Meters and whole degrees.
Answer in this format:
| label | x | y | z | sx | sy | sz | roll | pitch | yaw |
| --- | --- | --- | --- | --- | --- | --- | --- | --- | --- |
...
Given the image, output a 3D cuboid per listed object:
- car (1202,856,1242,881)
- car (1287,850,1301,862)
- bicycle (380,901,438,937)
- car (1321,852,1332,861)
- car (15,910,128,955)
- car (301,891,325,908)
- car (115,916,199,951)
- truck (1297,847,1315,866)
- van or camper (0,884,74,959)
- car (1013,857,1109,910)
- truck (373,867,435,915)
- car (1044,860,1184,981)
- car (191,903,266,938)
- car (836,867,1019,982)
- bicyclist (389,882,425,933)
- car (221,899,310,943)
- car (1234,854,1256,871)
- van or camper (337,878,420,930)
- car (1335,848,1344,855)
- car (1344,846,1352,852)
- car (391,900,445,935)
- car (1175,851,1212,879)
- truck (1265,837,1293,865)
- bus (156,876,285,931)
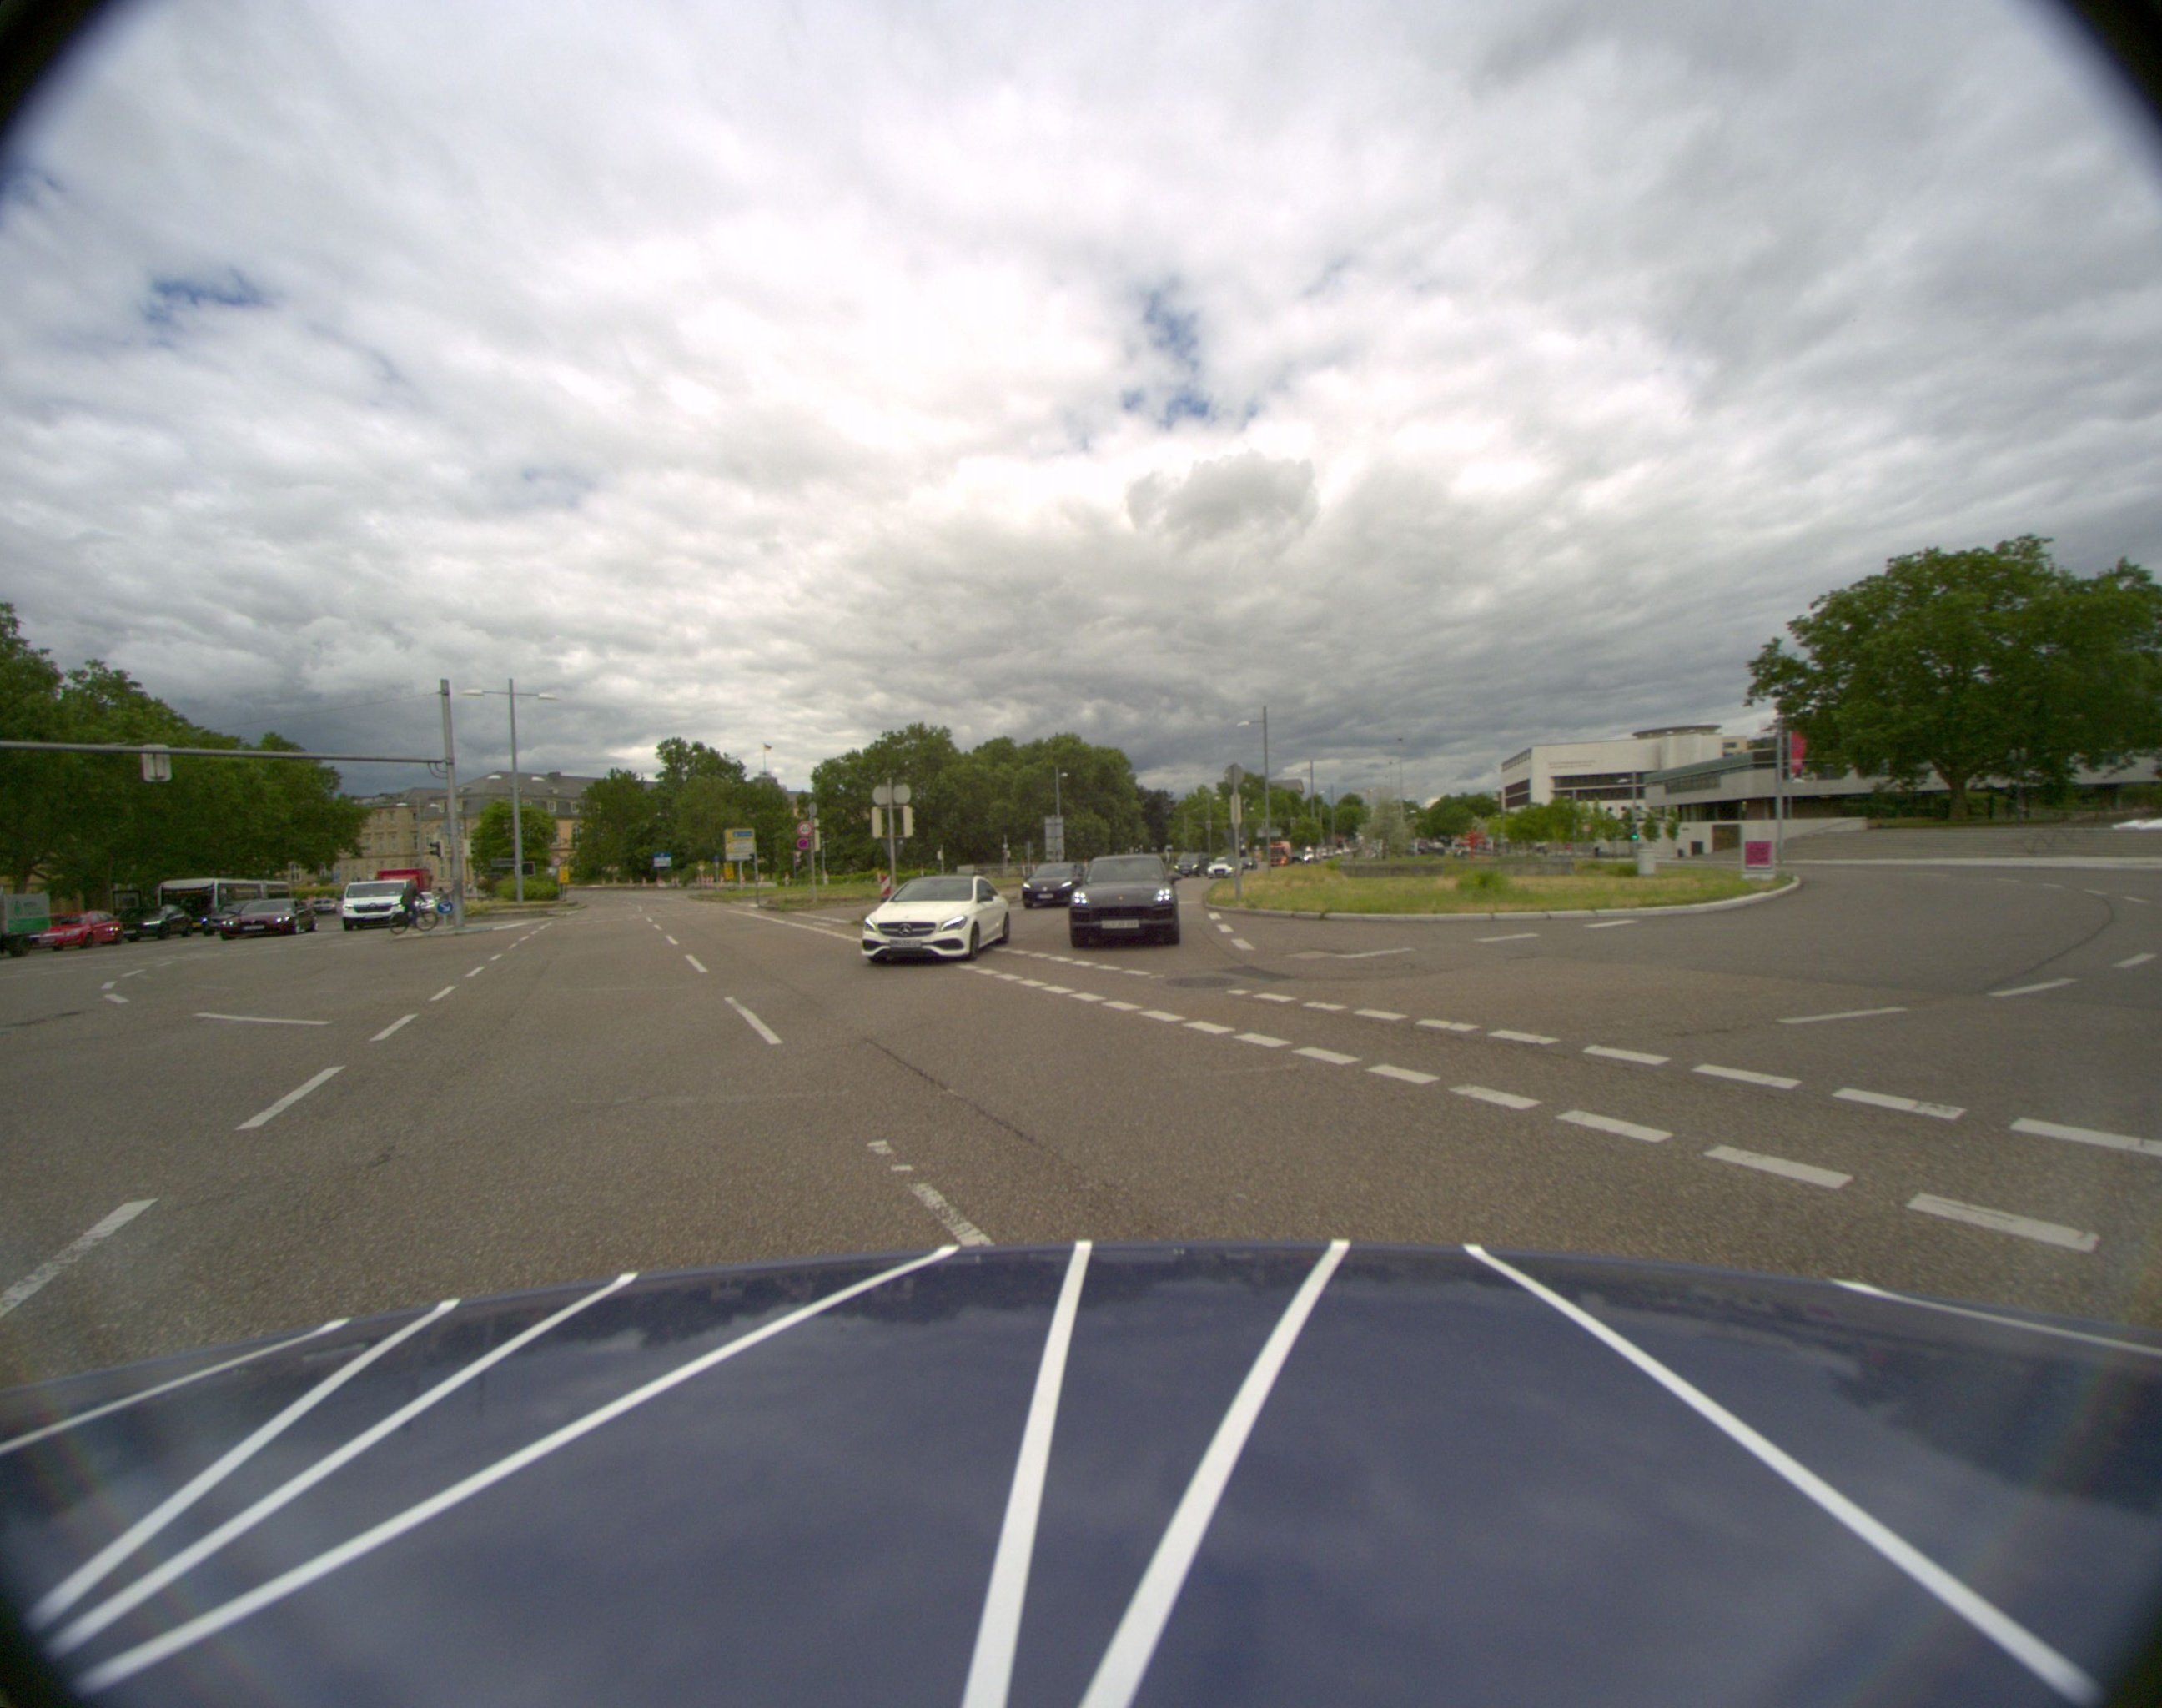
| label | x | y | z | sx | sy | sz | roll | pitch | yaw |
| --- | --- | --- | --- | --- | --- | --- | --- | --- | --- |
| car | 9.991 | 1.001 | 53.438 | 2.092 | 1.600 | 4.418 | -1 | 1 | 19 |
| car | 34.540 | 0.274 | 123.134 | 1.780 | 1.897 | 3.804 | -2 | 0 | 21 |
| bicycle | -22.686 | 2.176 | 25.691 | 0.505 | 1.066 | 1.728 | -3 | 0 | -5 |
| car | 53.990 | 0.483 | 167.093 | 1.780 | 1.834 | 3.805 | -2 | 0 | 25 |
| car | -38.110 | 2.925 | 28.782 | 1.618 | 1.347 | 3.476 | -3 | 0 | -37 |
| car | -97.477 | 5.770 | 96.429 | 3.989 | 2.002 | 2.004 | -2 | 1 | 44 |
| car | -42.565 | 3.635 | 35.076 | 1.626 | 1.228 | 3.231 | -3 | 0 | -35 |
| truck | 35.162 | 0.348 | 118.442 | 1.952 | 2.767 | 5.797 | -2 | 0 | 23 |
| van or camper | -34.758 | 2.152 | 23.454 | 2.379 | 2.249 | 6.272 | -2 | 0 | -33 |
| car | -0.588 | 0.977 | 26.814 | 1.996 | 1.537 | 4.573 | -2 | 1 | 16 |
| truck | -54.201 | 2.879 | 61.003 | 2.797 | 3.469 | 8.329 | -3 | 0 | -36 |
| car | 0.776 | 1.028 | 13.881 | 2.003 | 1.629 | 5.022 | -3 | 0 | 7 |
| car | -41.173 | 3.190 | 36.771 | 1.608 | 1.370 | 3.990 | -3 | 0 | -37 |
| car | -2.479 | 1.092 | 13.606 | 1.869 | 1.560 | 4.654 | -2 | 0 | 5 |
| bicyclist | -22.657 | 1.788 | 25.561 | 0.505 | 1.630 | 0.721 | -2 | 0 | -5 |
| car | -31.374 | 2.524 | 29.344 | 1.744 | 1.392 | 3.702 | -3 | 0 | -38 |
| car | 17.874 | 0.929 | 82.824 | 1.857 | 1.728 | 3.745 | -2 | 0 | 20 |
| van or camper | -28.888 | 1.988 | 31.385 | 1.869 | 1.905 | 4.702 | -3 | 0 | -36 |
| car | 69.088 | -0.730 | 202.753 | 1.780 | 1.834 | 3.805 | -2 | 0 | 25 |
| car | 78.394 | -1.431 | 223.402 | 1.780 | 1.834 | 3.805 | -2 | 0 | 25 |
| car | -39.218 | 3.707 | 45.046 | 2.003 | 1.744 | 3.951 | -3 | 0 | -36 |
| car | 8.918 | 0.837 | 60.009 | 1.856 | 1.976 | 4.648 | -1 | 1 | 22 |
| truck | 27.724 | -0.466 | 106.179 | 2.722 | 3.595 | 9.191 | -2 | 0 | 21 |
| bus | -59.395 | 3.235 | 52.915 | 3.441 | 3.185 | 13.029 | -3 | 1 | -38 |
